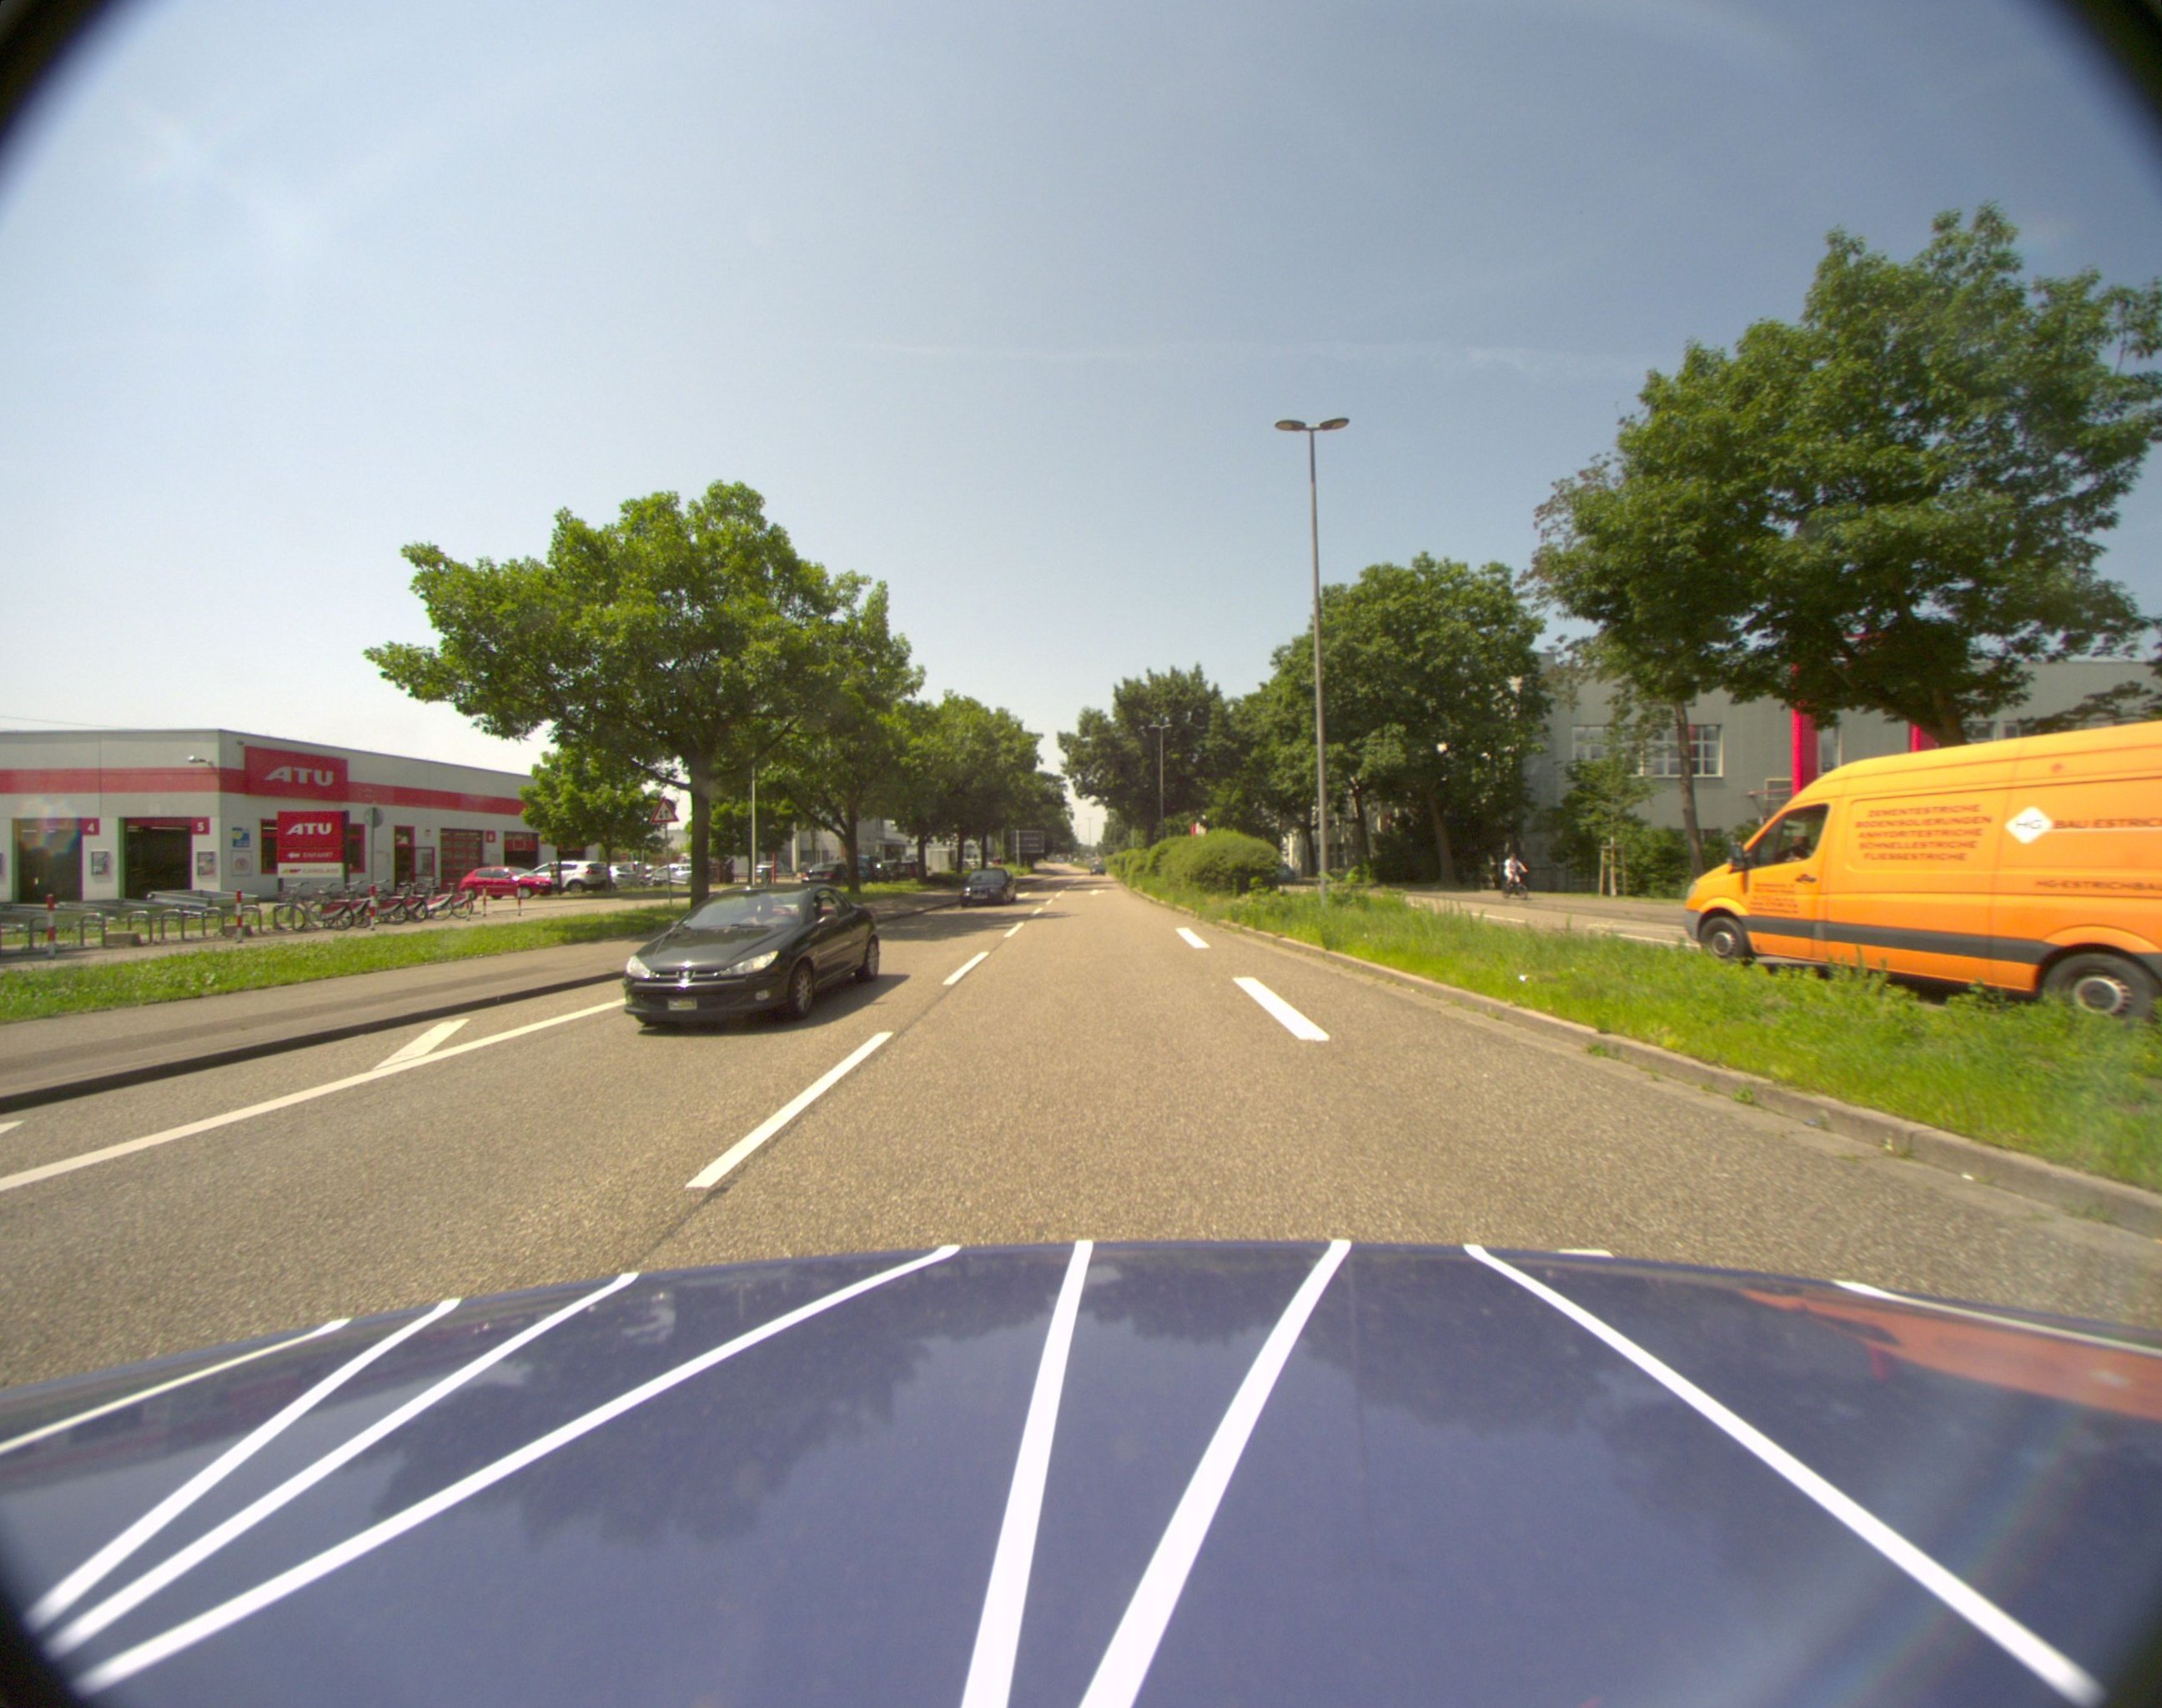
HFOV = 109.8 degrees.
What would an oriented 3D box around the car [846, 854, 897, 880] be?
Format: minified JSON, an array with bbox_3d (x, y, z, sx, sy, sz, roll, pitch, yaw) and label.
[{"bbox_3d":[-12.172,0.744,44.365,1.719,1.458,4.001,0,0,2],"label":"car"}]

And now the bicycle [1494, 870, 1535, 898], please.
[{"bbox_3d":[15.808,1.092,27.738,0.618,0.963,1.660,0,0,2],"label":"bicycle"}]

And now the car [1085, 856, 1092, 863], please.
[{"bbox_3d":[2.061,1.514,206.858,1.998,1.692,4.000,0,0,1],"label":"car"}]

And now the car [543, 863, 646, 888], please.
[{"bbox_3d":[-24.366,1.050,38.140,3.997,1.201,1.747,0,0,-2],"label":"car"}]

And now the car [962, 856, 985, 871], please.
[{"bbox_3d":[-11.243,0.965,79.642,1.719,1.458,4.001,0,0,2],"label":"car"}]

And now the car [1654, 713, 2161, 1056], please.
[{"bbox_3d":[9.243,0.252,7.749,2.271,2.552,6.058,1,0,1],"label":"car"}]

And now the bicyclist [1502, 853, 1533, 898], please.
[{"bbox_3d":[15.793,0.757,27.524,0.609,1.621,0.923,0,1,2],"label":"bicyclist"}]

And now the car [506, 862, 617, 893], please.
[{"bbox_3d":[-24.288,1.075,35.620,3.997,1.394,1.747,0,0,-2],"label":"car"}]

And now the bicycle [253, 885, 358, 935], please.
[{"bbox_3d":[-18.020,1.293,17.677,1.784,1.117,0.514,0,0,-5],"label":"bicycle"}]

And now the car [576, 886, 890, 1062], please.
[{"bbox_3d":[-3.582,1.150,8.717,1.642,1.336,4.000,-3,0,1],"label":"car"}]

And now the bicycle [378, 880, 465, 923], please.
[{"bbox_3d":[-17.782,1.270,20.514,1.784,1.117,0.514,0,0,-5],"label":"bicycle"}]

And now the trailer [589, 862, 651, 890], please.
[{"bbox_3d":[-26.061,1.232,43.010,2.642,1.518,1.415,0,0,-1],"label":"trailer"}]

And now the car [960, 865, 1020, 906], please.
[{"bbox_3d":[-3.382,1.135,28.832,1.642,1.363,4.145,-3,0,1],"label":"car"}]

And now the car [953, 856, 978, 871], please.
[{"bbox_3d":[-11.052,0.894,72.920,1.719,1.458,4.001,0,0,2],"label":"car"}]

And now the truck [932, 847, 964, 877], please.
[{"bbox_3d":[-11.735,0.720,67.312,1.904,2.552,4.001,0,0,3],"label":"truck"}]

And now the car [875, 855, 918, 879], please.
[{"bbox_3d":[-12.013,0.807,49.667,1.719,1.511,4.001,0,0,2],"label":"car"}]

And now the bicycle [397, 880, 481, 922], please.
[{"bbox_3d":[-17.824,1.304,21.116,1.784,1.117,0.514,0,0,-5],"label":"bicycle"}]

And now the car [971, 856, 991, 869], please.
[{"bbox_3d":[-11.479,0.928,87.375,1.719,1.458,4.001,0,0,2],"label":"car"}]

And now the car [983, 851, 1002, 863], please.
[{"bbox_3d":[-10.824,0.357,93.522,1.719,1.458,4.001,0,0,2],"label":"car"}]

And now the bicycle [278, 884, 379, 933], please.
[{"bbox_3d":[-18.129,1.303,18.328,1.784,1.117,0.514,0,0,-5],"label":"bicycle"}]

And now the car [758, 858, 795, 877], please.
[{"bbox_3d":[-25.439,1.100,63.584,1.759,1.586,3.998,0,0,-5],"label":"car"}]

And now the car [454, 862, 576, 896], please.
[{"bbox_3d":[-24.679,1.075,33.248,3.997,1.394,1.747,0,0,-1],"label":"car"}]

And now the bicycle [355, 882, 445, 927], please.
[{"bbox_3d":[-17.718,1.304,19.792,1.784,1.117,0.514,0,0,-5],"label":"bicycle"}]

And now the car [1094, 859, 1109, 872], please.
[{"bbox_3d":[2.300,1.270,86.365,1.642,1.395,4.000,0,0,1],"label":"car"}]

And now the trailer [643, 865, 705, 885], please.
[{"bbox_3d":[-22.997,1.162,42.952,2.642,1.046,1.578,0,0,-1],"label":"trailer"}]

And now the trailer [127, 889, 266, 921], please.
[{"bbox_3d":[-23.516,1.351,20.251,2.137,0.757,1.394,-1,0,3],"label":"trailer"}]

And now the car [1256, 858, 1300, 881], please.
[{"bbox_3d":[12.891,0.965,49.924,1.690,1.379,4.588,2,0,0],"label":"car"}]

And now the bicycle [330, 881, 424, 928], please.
[{"bbox_3d":[-17.726,1.269,19.145,1.784,1.117,0.514,0,0,-5],"label":"bicycle"}]

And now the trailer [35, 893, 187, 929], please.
[{"bbox_3d":[-23.596,1.377,18.531,2.137,0.757,1.267,-1,0,3],"label":"trailer"}]

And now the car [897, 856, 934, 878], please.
[{"bbox_3d":[-12.110,0.936,55.768,1.719,1.504,4.001,0,0,2],"label":"car"}]

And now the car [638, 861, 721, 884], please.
[{"bbox_3d":[-23.851,1.087,45.193,3.997,1.293,1.689,0,0,-2],"label":"car"}]

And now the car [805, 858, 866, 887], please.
[{"bbox_3d":[-12.314,0.883,38.303,1.642,1.363,4.001,0,0,2],"label":"car"}]

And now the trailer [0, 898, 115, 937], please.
[{"bbox_3d":[-23.449,1.391,16.773,2.466,0.757,1.449,-1,0,3],"label":"trailer"}]
